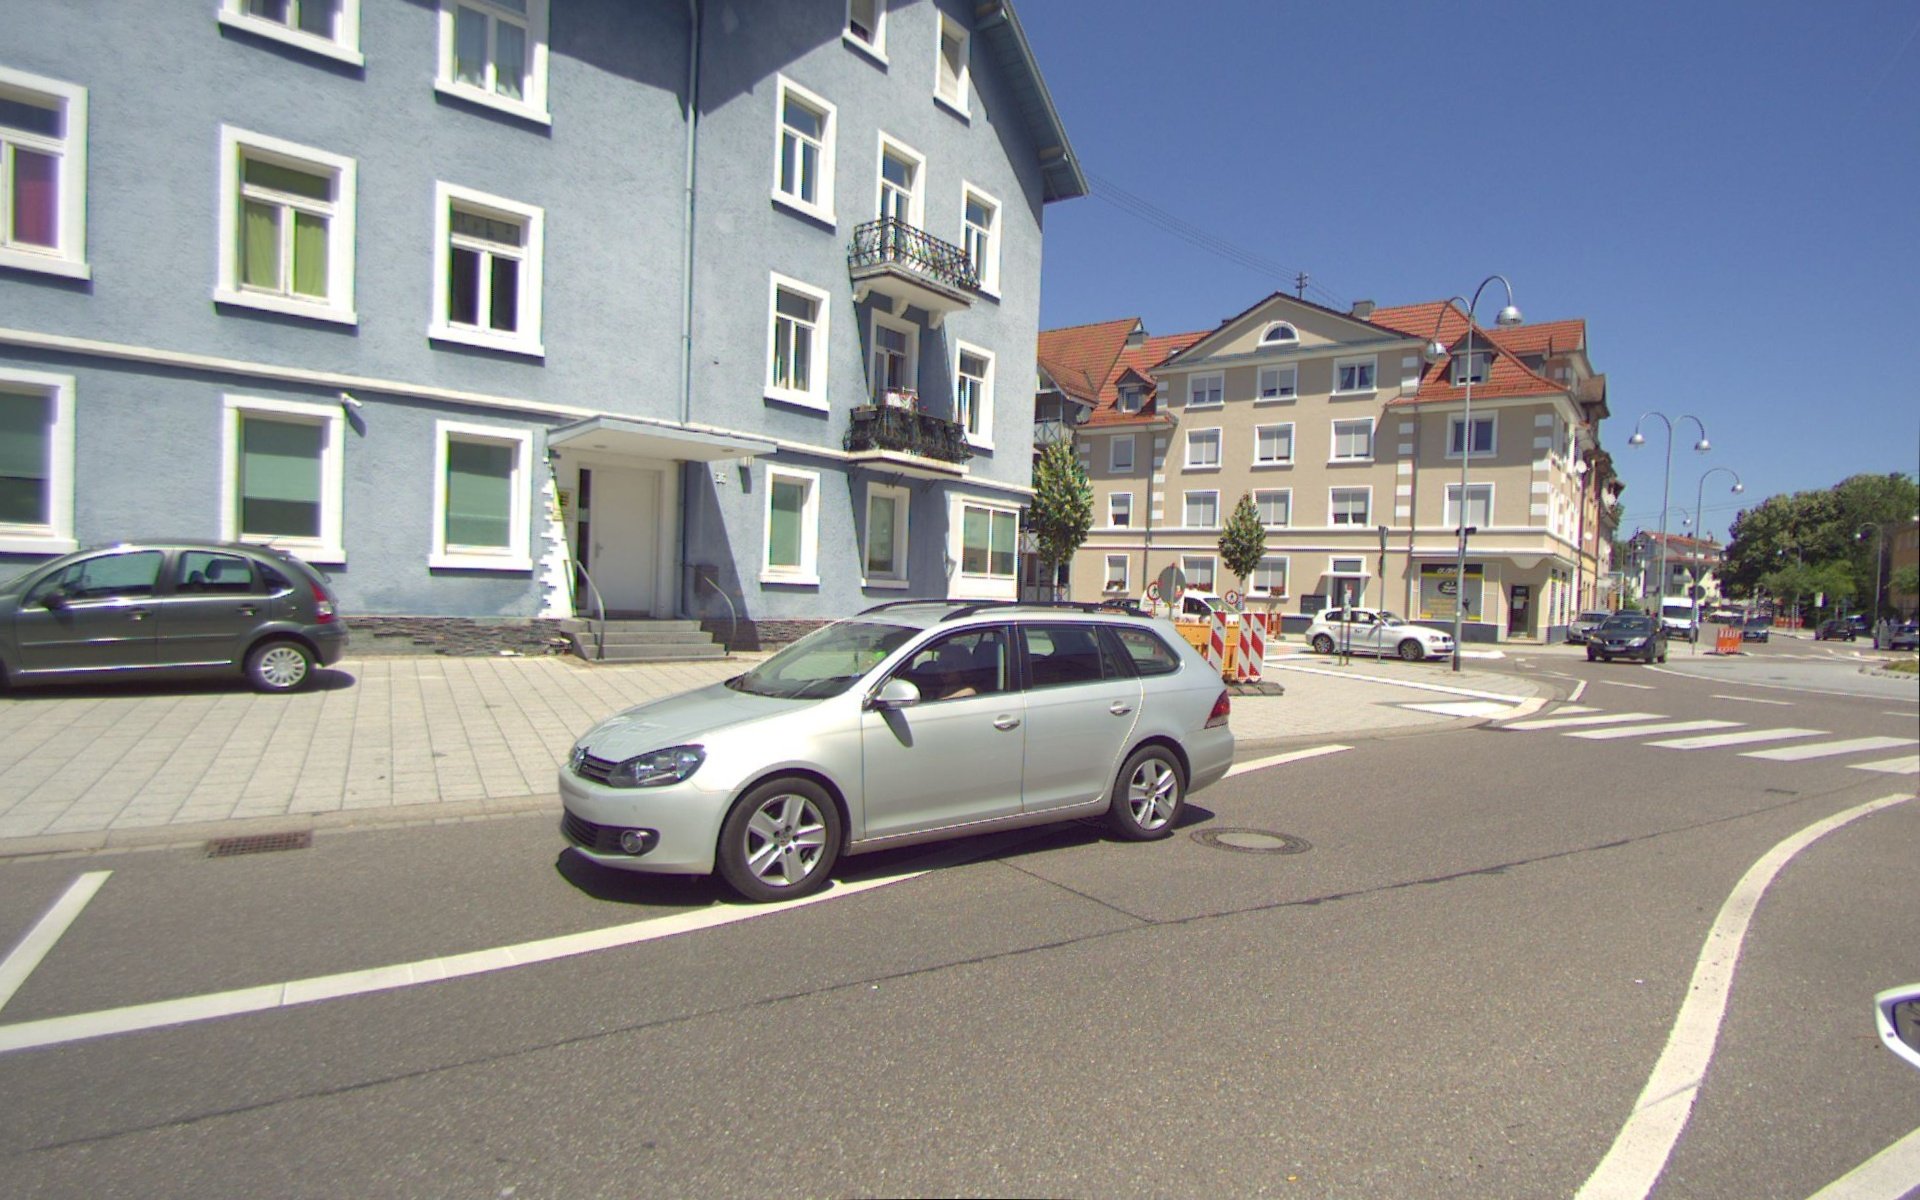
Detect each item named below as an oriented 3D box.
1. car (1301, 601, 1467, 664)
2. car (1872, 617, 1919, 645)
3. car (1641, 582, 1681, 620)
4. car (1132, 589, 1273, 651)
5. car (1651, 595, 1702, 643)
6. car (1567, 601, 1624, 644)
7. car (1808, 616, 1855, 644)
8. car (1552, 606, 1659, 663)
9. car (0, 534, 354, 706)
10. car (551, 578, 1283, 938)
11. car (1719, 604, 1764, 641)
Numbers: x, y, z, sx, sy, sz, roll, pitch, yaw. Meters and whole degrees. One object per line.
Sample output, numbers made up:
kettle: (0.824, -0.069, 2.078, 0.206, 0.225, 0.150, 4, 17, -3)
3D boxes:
car: (12.283, 0.900, 29.294, 1.774, 1.571, 4.077, 2, 1, -42)
car: (54.451, 1.782, 57.981, 1.786, 1.520, 3.992, 4, 2, 31)
car: (51.741, 0.086, 74.195, 2.115, 2.566, 4.841, 4, 2, 34)
car: (8.029, 0.624, 33.434, 4.182, 1.801, 1.772, 3, 1, 42)
car: (42.857, 1.106, 60.211, 2.115, 2.566, 6.219, 4, 2, 34)
car: (27.733, 0.975, 43.771, 1.752, 1.708, 4.678, 3, 1, 36)
car: (62.695, 2.127, 72.315, 1.786, 1.818, 3.992, 4, 2, 31)
car: (19.843, 1.019, 31.054, 1.631, 1.472, 4.024, -1, 2, 15)
car: (-8.452, 0.196, 10.215, 3.741, 1.554, 1.566, 3, 0, -37)
car: (-0.115, 0.739, 6.451, 4.347, 1.549, 1.827, -2, -3, -34)
car: (47.720, 1.365, 61.308, 1.969, 2.040, 3.982, 4, 2, 39)
